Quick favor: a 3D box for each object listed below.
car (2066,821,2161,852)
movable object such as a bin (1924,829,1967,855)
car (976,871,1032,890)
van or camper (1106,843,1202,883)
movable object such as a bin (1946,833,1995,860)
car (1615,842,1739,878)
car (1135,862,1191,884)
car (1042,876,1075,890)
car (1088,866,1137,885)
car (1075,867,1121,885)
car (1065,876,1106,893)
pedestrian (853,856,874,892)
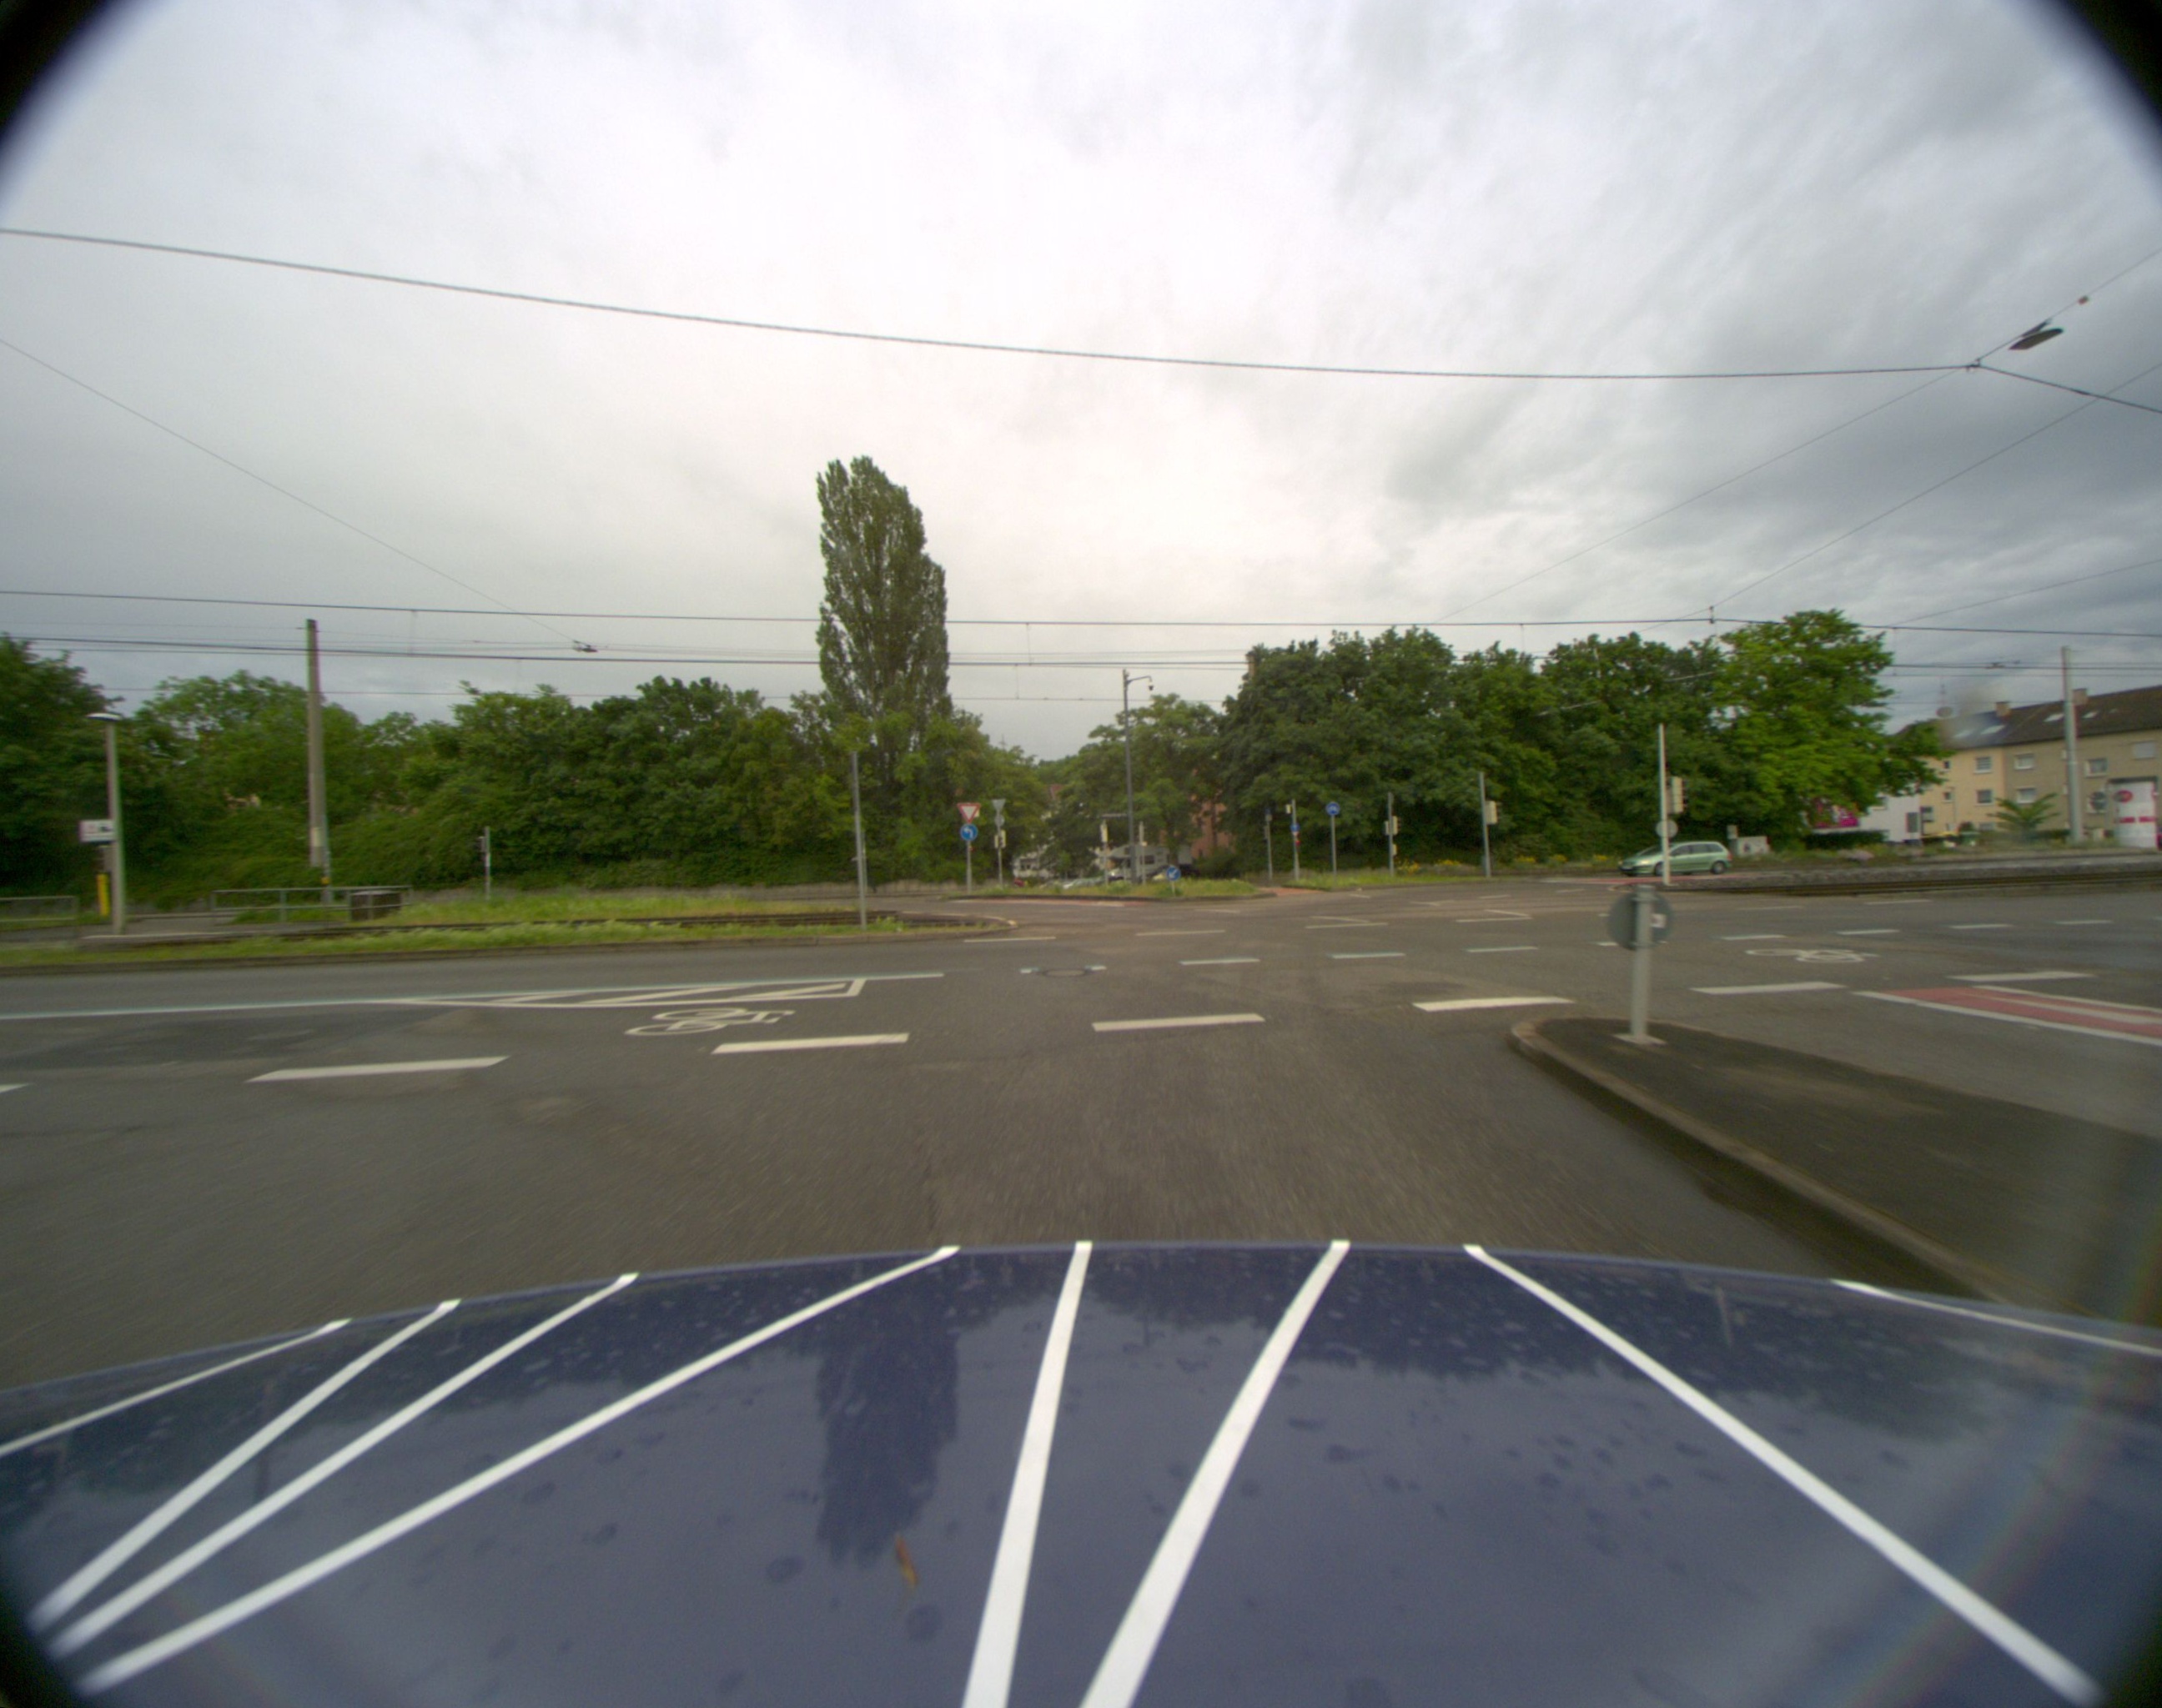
[{"bbox_3d":[68.528,-1.136,49.886,1.878,1.645,4.289,-4,-3,-2],"label":"car"},{"bbox_3d":[50.787,-0.693,44.649,1.134,1.409,1.187,-4,-1,-8],"label":"movable object such as a bin"},{"bbox_3d":[-5.809,1.973,56.964,4.001,1.346,1.676,-1,0,-12],"label":"car"},{"bbox_3d":[5.255,0.651,55.239,6.432,2.738,2.429,-1,0,-10],"label":"van or camper"},{"bbox_3d":[52.471,-0.428,44.841,1.300,1.409,1.315,-4,-1,-8],"label":"movable object such as a bin"},{"bbox_3d":[26.353,0.267,33.664,4.200,1.440,1.889,-2,-1,-6],"label":"car"},{"bbox_3d":[5.627,1.293,52.407,3.473,1.346,1.676,-1,0,-12],"label":"car"},{"bbox_3d":[-2.876,3.673,97.678,4.000,1.636,1.835,-1,0,-9],"label":"car"},{"bbox_3d":[2.803,1.927,67.475,4.000,1.539,1.835,-1,0,-9],"label":"car"},{"bbox_3d":[1.608,2.058,71.780,4.000,1.539,1.835,-1,0,-9],"label":"car"},{"bbox_3d":[0.440,3.124,78.073,4.000,1.539,1.835,-1,0,-9],"label":"car"},{"bbox_3d":[-10.093,0.933,35.293,0.683,1.597,0.810,-4,-1,-6],"label":"pedestrian"}]
